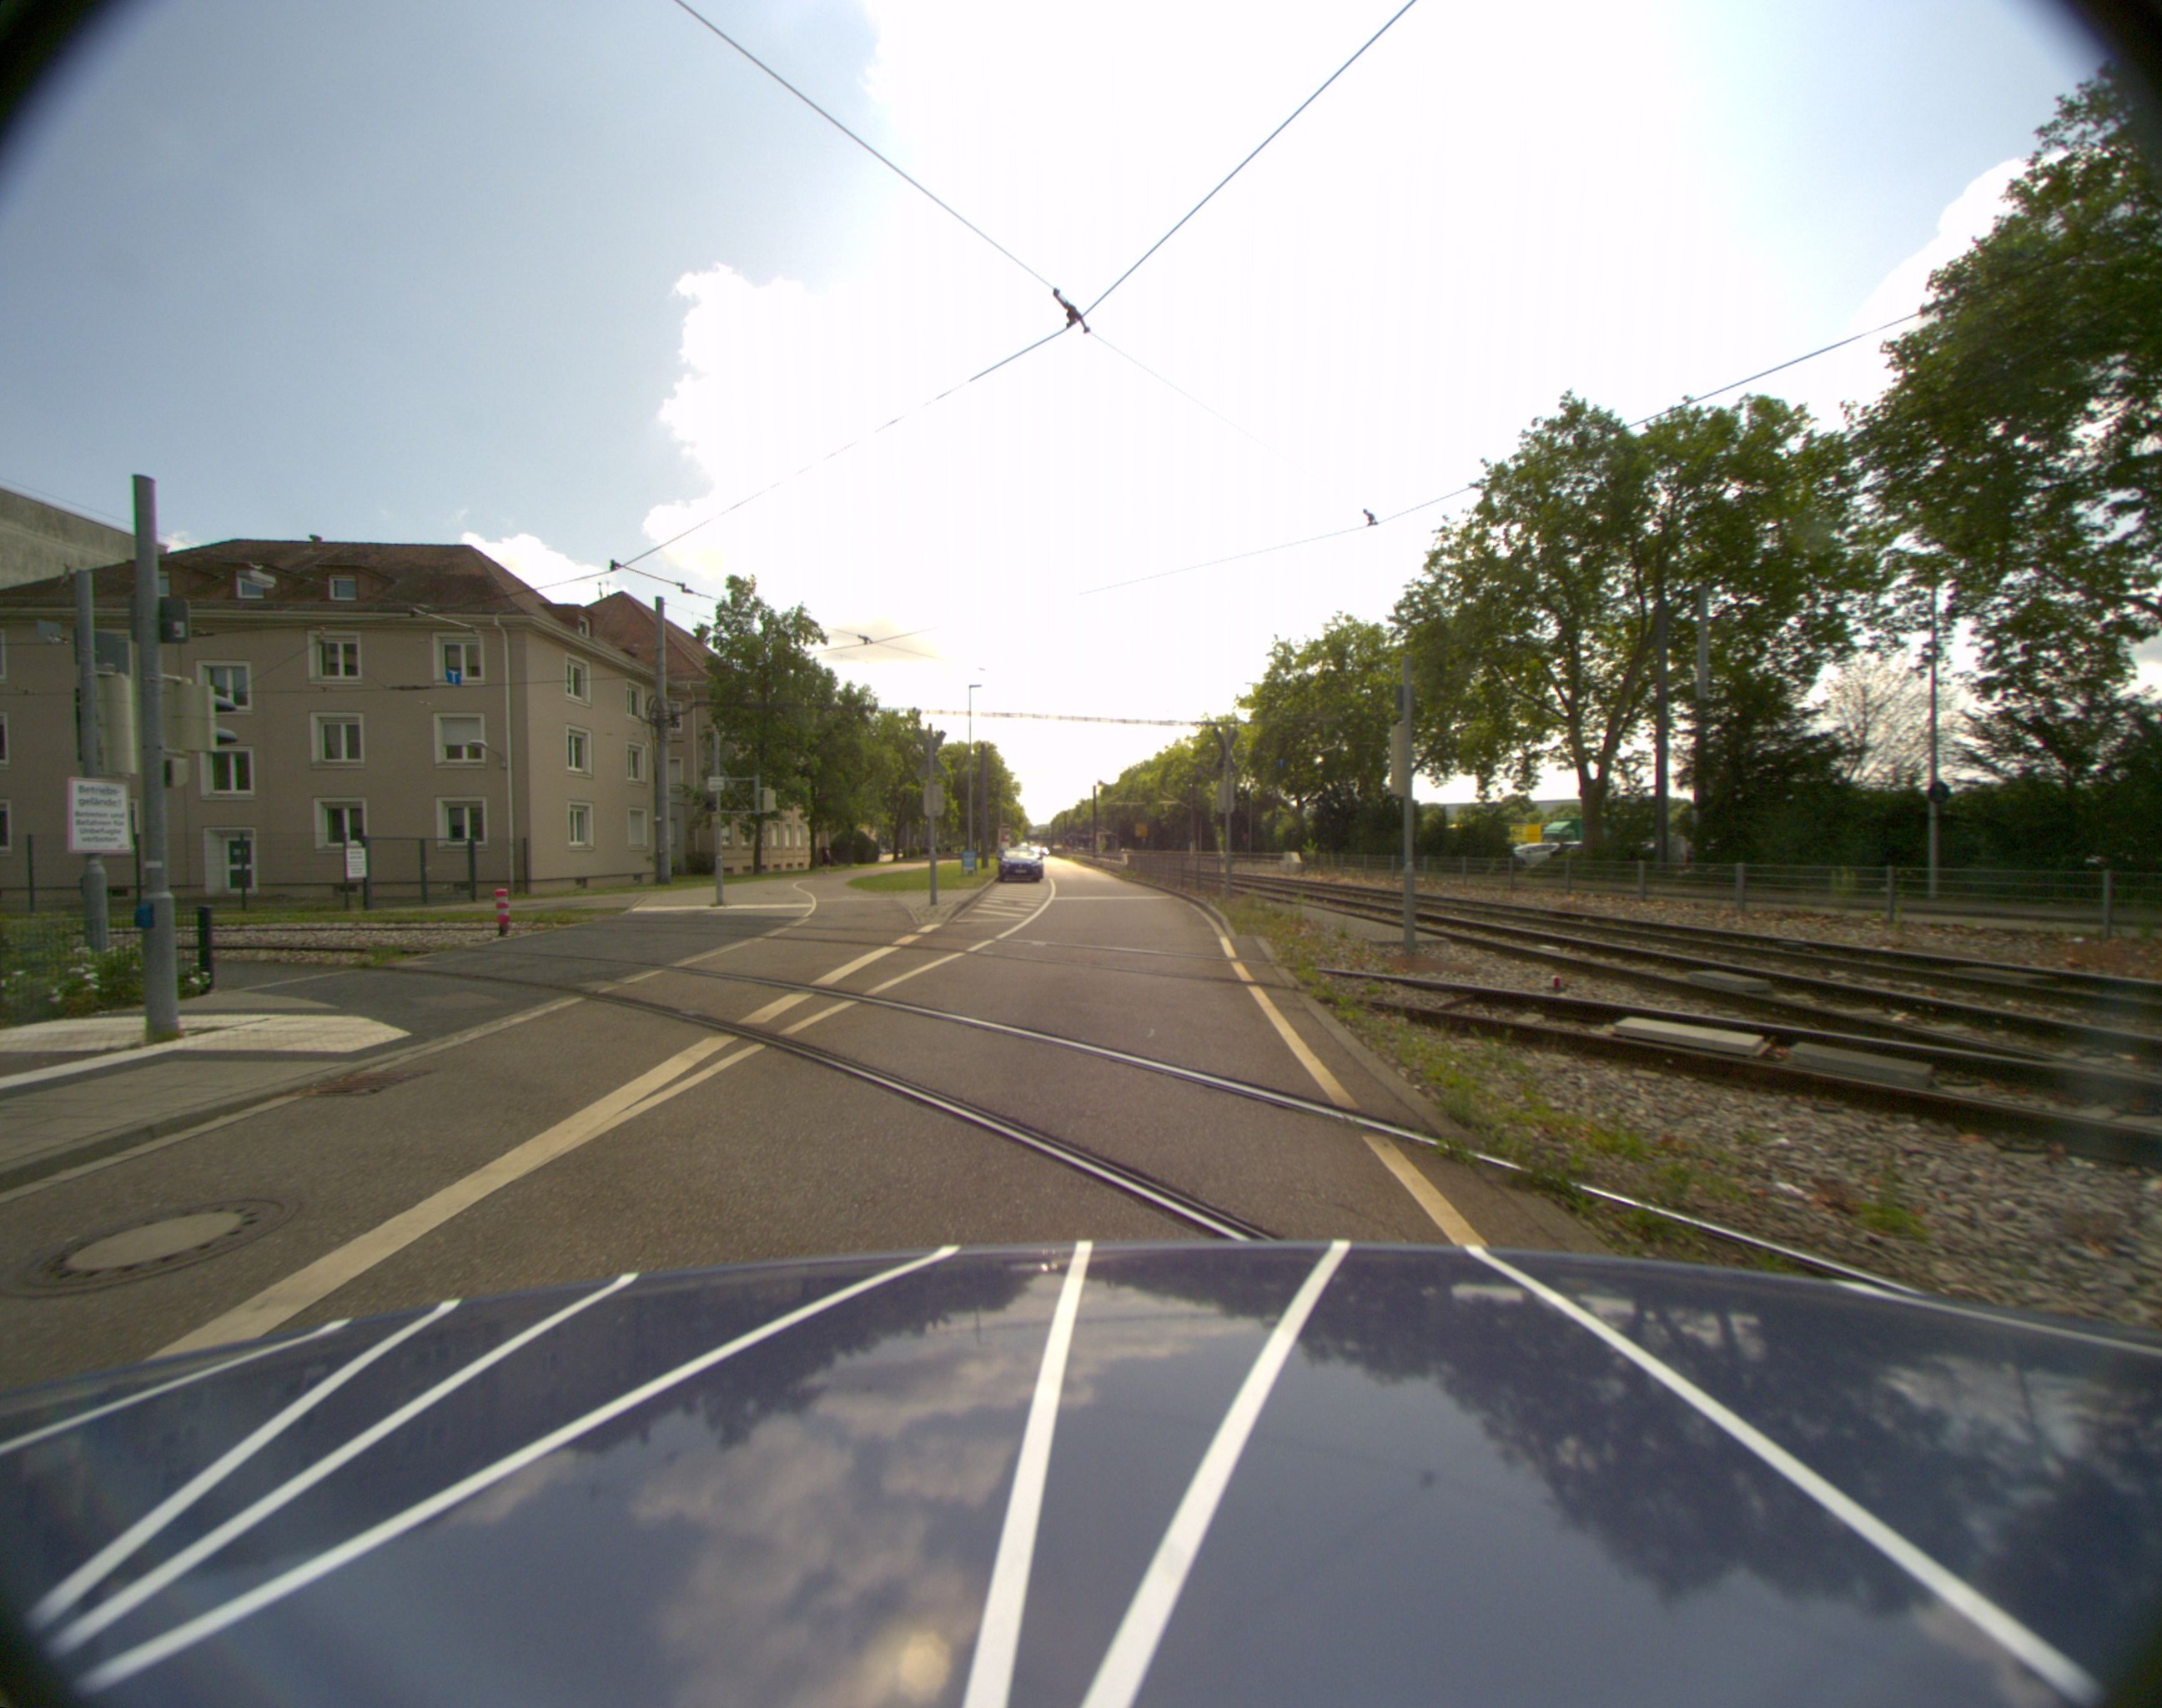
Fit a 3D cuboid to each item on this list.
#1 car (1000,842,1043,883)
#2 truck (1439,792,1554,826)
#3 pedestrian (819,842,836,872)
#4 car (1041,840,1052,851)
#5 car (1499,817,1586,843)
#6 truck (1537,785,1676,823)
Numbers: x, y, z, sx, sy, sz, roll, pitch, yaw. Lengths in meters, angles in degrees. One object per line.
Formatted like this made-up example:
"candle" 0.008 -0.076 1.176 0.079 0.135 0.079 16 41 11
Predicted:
"car" -2.714 0.342 34.151 1.784 1.532 4.415 0 3 -6
"truck" 51.638 -5.617 94.599 12.824 4.053 2.745 1 4 -3
"pedestrian" -13.852 0.176 41.575 0.622 1.599 0.625 5 6 42
"car" -6.315 -1.621 139.241 1.999 1.711 4.300 1 4 -4
"car" 27.358 -1.467 45.117 3.998 1.434 1.998 -1 4 -4
"truck" 41.234 -3.922 59.846 8.855 2.779 2.704 1 4 1
